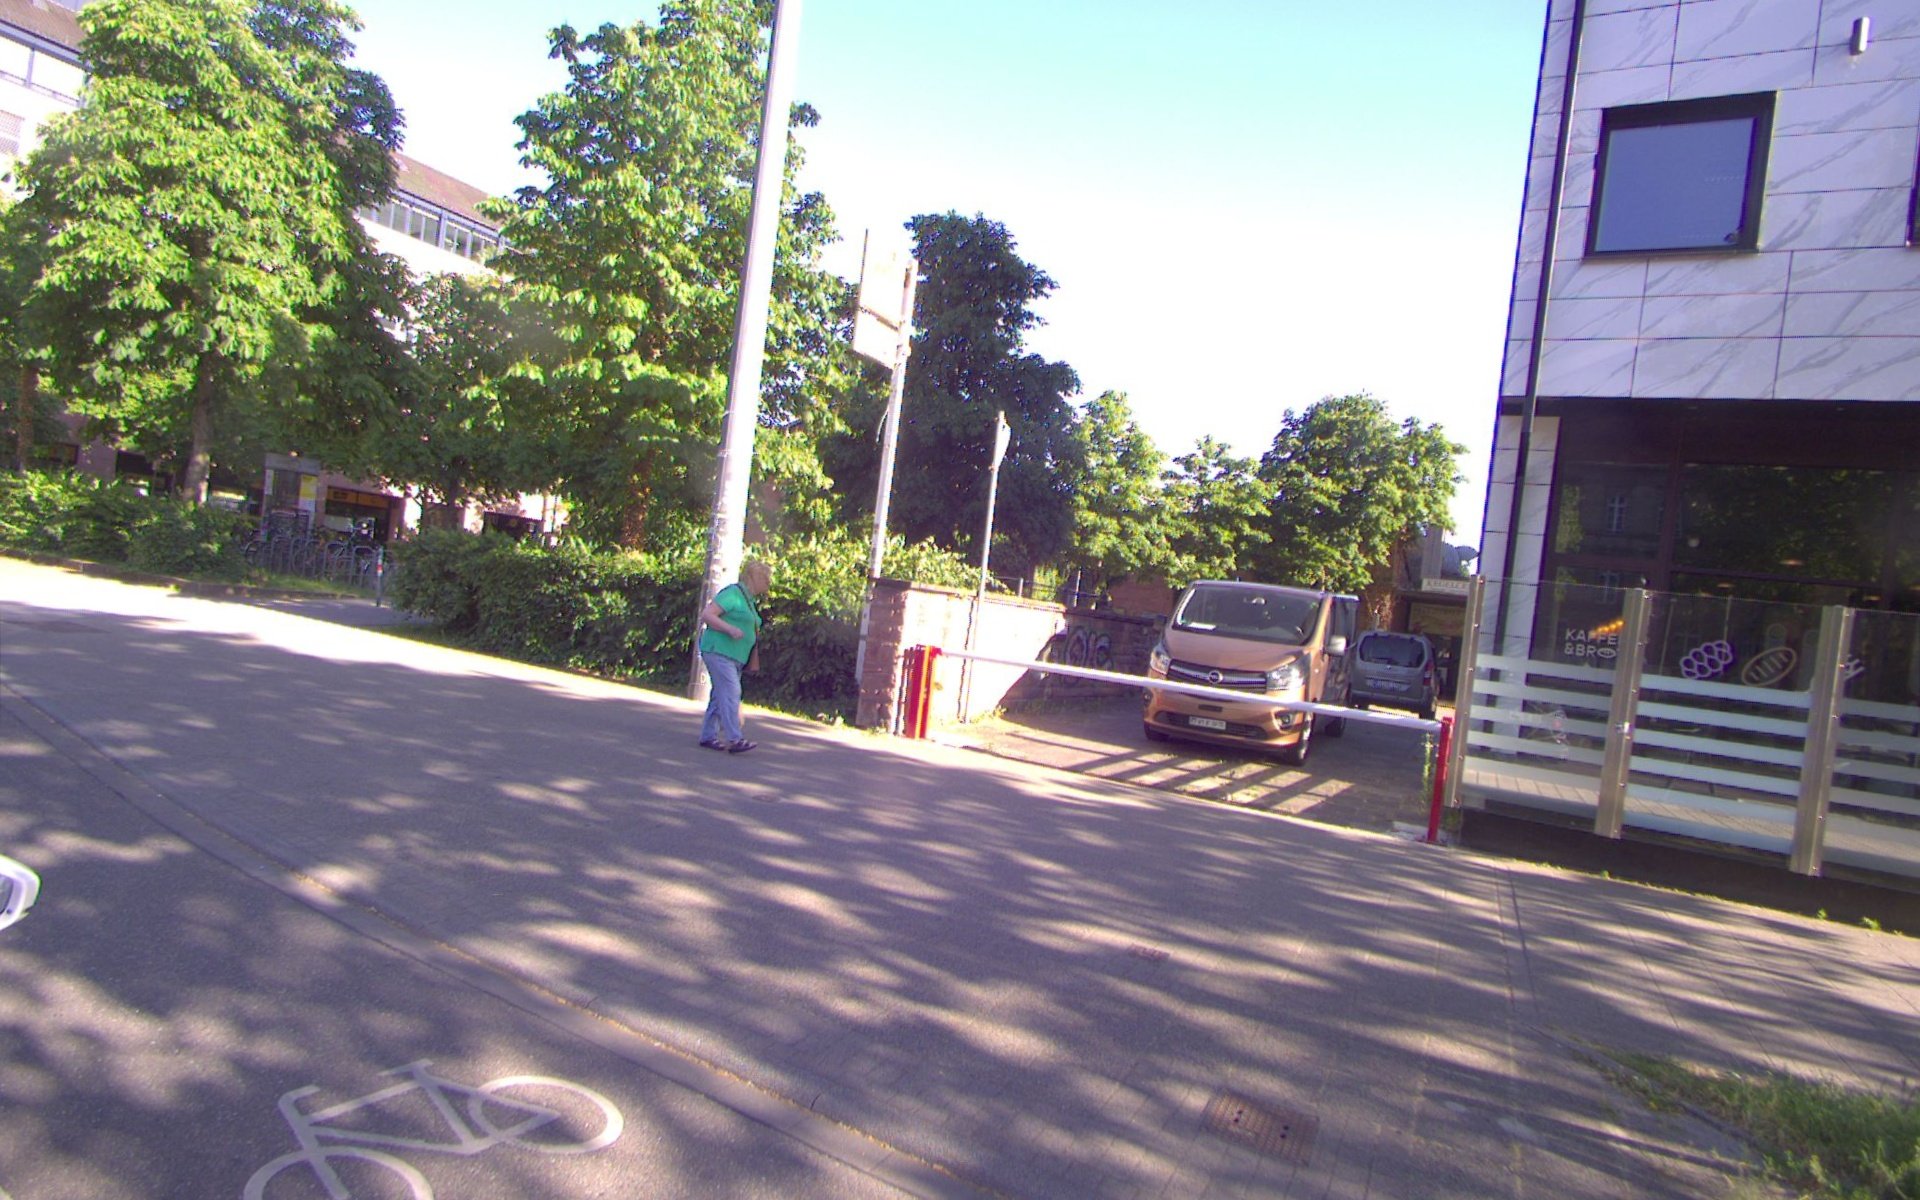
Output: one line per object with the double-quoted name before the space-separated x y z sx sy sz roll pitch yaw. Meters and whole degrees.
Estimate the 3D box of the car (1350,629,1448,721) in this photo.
"car" 9.894 1.650 22.542 1.567 1.692 3.616 7 0 28

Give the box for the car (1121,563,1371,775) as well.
"car" 3.853 0.741 12.825 1.880 2.011 4.901 7 2 28

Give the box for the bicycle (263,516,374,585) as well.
"bicycle" -14.424 -1.089 22.669 0.564 1.331 1.998 7 1 30

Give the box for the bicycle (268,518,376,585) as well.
"bicycle" -14.751 -1.097 23.311 0.564 1.331 1.998 7 1 30

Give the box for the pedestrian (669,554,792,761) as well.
"pedestrian" -1.904 0.462 8.446 0.818 1.595 0.737 6 1 -11

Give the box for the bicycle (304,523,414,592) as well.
"bicycle" -13.276 -0.913 22.282 0.564 1.331 1.998 7 1 30
